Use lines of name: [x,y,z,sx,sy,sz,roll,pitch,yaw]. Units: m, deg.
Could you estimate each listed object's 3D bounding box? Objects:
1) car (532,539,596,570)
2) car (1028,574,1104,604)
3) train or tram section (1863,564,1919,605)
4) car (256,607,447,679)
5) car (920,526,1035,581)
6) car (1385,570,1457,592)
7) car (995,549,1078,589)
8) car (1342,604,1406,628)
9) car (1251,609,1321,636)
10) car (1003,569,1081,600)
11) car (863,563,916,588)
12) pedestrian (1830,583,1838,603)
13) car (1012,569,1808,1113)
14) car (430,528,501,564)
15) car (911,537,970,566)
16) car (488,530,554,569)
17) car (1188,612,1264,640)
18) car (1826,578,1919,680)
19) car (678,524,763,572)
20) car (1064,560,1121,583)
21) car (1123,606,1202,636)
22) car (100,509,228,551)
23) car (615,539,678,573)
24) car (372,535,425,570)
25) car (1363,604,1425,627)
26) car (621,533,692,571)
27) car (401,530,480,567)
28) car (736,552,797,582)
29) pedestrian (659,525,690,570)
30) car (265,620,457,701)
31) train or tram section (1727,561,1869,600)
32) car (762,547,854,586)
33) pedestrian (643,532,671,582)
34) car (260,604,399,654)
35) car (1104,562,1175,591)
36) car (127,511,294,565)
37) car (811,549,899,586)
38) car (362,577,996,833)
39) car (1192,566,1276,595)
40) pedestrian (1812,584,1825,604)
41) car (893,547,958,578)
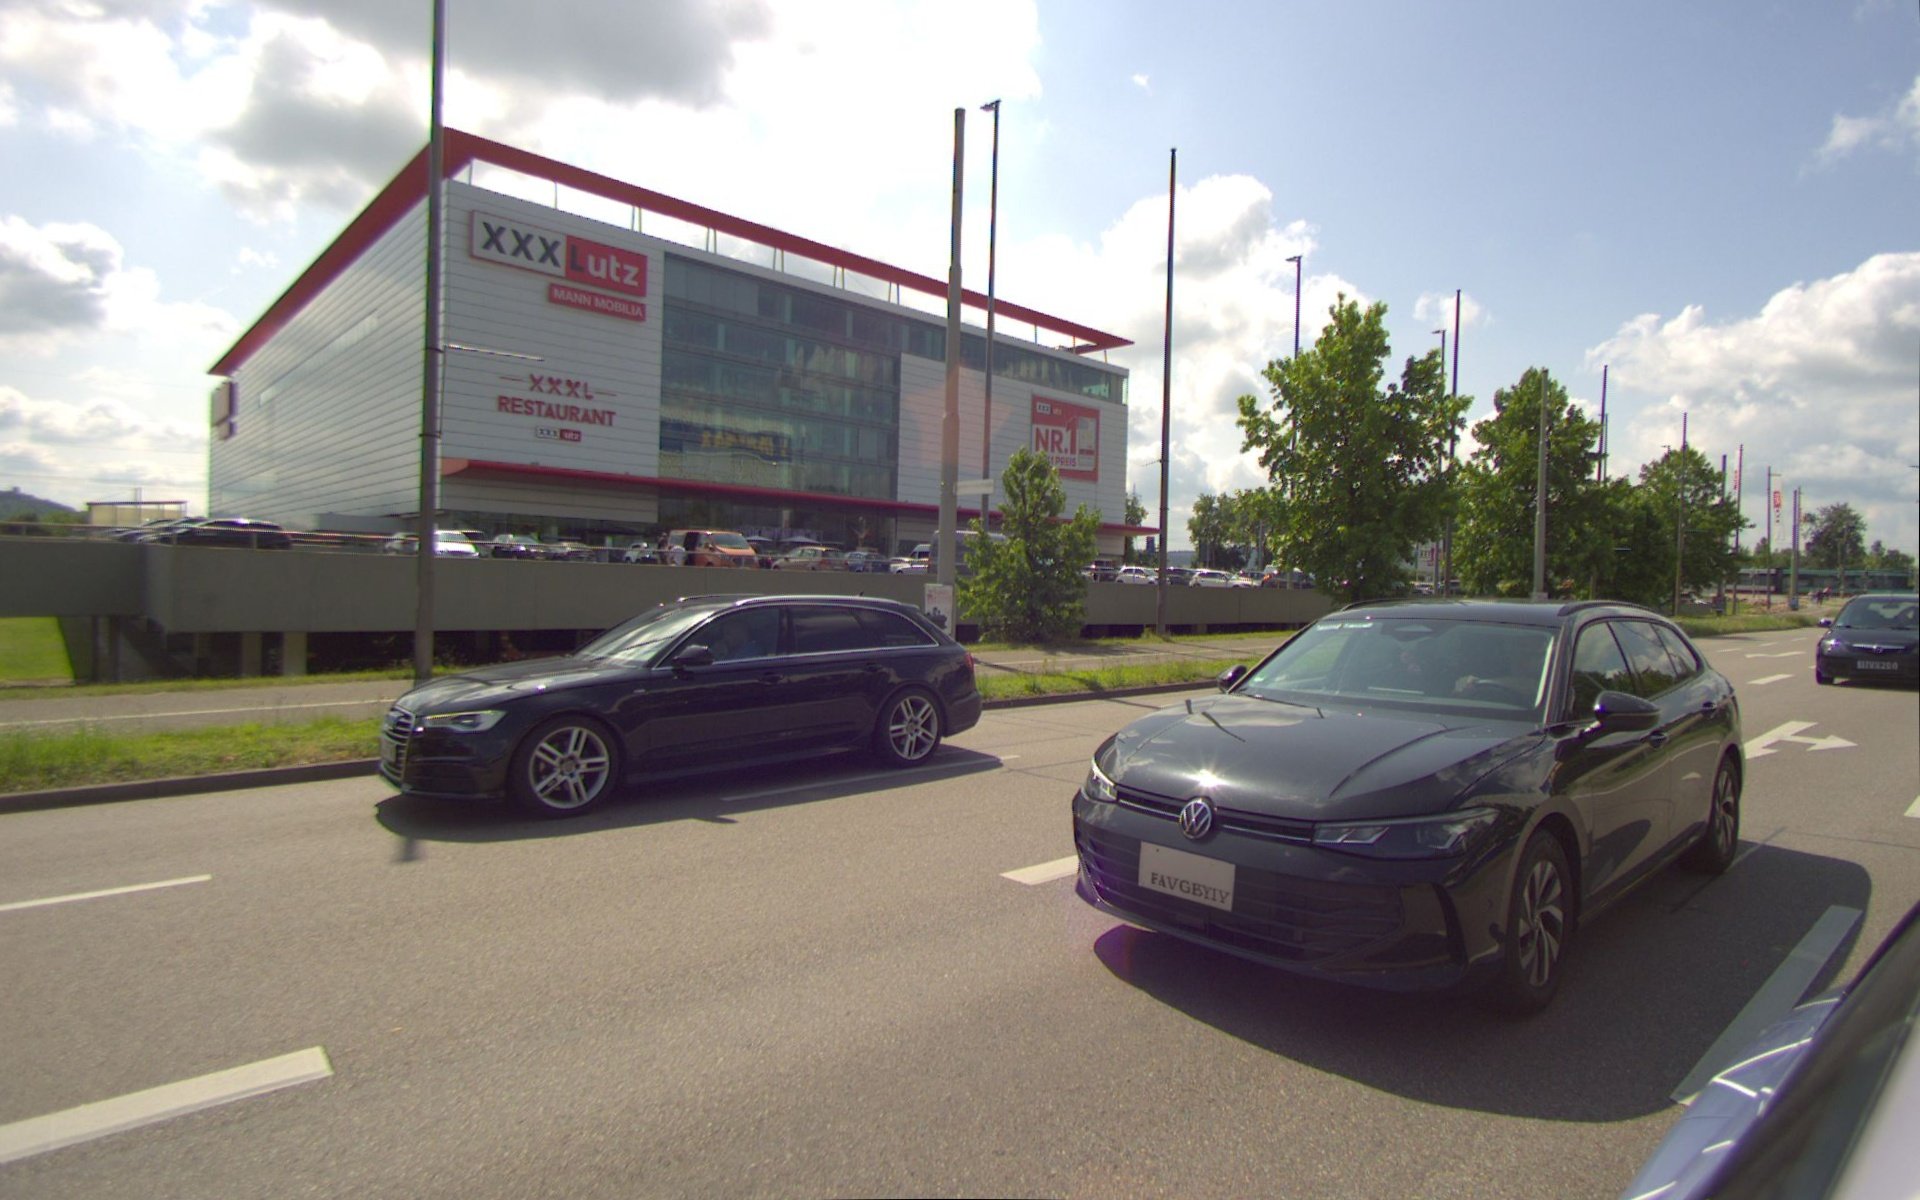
car: [-20.649,-2.343,52.700,1.534,1.489,4.412,0,1,-44]
car: [5.940,-0.621,57.378,1.917,1.625,4.425,0,1,-33]
train or tram section: [112.183,-1.769,115.676,3.670,4.731,13.076,-1,1,-43]
car: [-17.079,1.131,28.528,1.994,1.772,4.293,1,1,45]
car: [0.727,-2.066,46.766,1.721,2.312,5.783,-1,1,-44]
car: [33.994,-1.393,74.706,1.921,1.625,4.415,0,1,-42]
car: [3.636,-1.454,48.661,1.719,1.816,3.994,-1,1,-40]
car: [32.627,1.262,79.800,1.534,1.786,4.411,-1,1,-44]
car: [22.506,1.518,69.923,1.534,1.786,4.411,-1,1,-44]
car: [4.395,-0.859,54.956,1.917,1.625,4.425,0,1,-33]
car: [-4.678,-1.597,66.645,1.915,1.625,4.430,0,1,-27]
pedestrian: [79.595,-0.619,92.162,0.523,1.836,0.669,-1,0,34]
car: [2.708,0.632,5.177,5.115,1.496,1.811,-1,1,-42]
car: [-24.607,-2.659,50.255,1.923,1.625,4.412,0,1,-44]
car: [-1.378,-3.299,69.320,1.884,1.772,3.992,-1,1,-42]
car: [-22.114,-2.491,50.901,1.884,1.772,3.992,-1,1,-42]
car: [17.109,1.640,65.209,1.922,1.625,4.413,0,1,-43]
car: [16.097,0.450,17.183,4.196,1.549,1.605,0,1,-42]
car: [-9.772,-2.048,41.055,1.881,1.772,4.187,-1,1,-36]
car: [9.669,-2.046,74.187,1.916,1.625,4.428,0,1,-30]
car: [11.935,1.220,59.987,1.919,1.625,4.419,0,1,-38]
car: [-35.737,-3.107,45.515,1.949,1.625,4.352,1,1,45]
car: [-17.489,-2.427,56.335,1.884,1.772,3.992,-1,1,-42]
car: [-31.529,-2.642,56.745,1.534,1.846,4.412,0,1,-44]
car: [35.365,1.236,82.505,1.534,1.786,4.411,-1,1,-44]
car: [-15.123,-2.350,50.363,1.884,1.772,3.992,-1,1,-42]
car: [-22.791,-2.209,44.323,1.923,1.489,4.412,0,1,-44]
car: [-11.818,-1.982,61.591,1.884,1.772,3.992,-1,1,-42]
pedestrian: [-11.555,-2.128,40.931,1.014,1.764,0.698,0,0,36]
car: [-15.384,1.477,26.101,1.994,1.772,3.935,1,1,45]
train or tram section: [103.332,-2.562,125.109,3.670,4.424,13.080,-1,3,-43]
car: [-6.796,-1.455,44.948,1.921,1.625,4.415,0,1,-42]
pedestrian: [-12.406,-1.745,41.417,0.895,2.039,0.706,-1,0,4]
car: [-24.551,1.071,39.491,1.994,1.772,4.293,1,1,45]
car: [11.398,-1.489,64.367,1.534,1.786,4.411,-1,1,-44]
car: [-25.735,-2.079,34.858,1.948,1.625,4.356,1,1,42]
car: [-4.883,-1.457,46.811,1.920,1.625,4.417,0,1,-40]
car: [-1.997,0.586,8.105,4.597,1.496,1.777,-1,1,-41]
car: [16.027,-1.150,59.338,1.921,1.625,4.415,0,1,-42]
pedestrian: [78.762,-0.560,92.852,0.696,1.836,0.541,-1,0,23]
car: [-2.125,-2.247,62.019,1.884,1.772,3.992,-1,1,-42]
